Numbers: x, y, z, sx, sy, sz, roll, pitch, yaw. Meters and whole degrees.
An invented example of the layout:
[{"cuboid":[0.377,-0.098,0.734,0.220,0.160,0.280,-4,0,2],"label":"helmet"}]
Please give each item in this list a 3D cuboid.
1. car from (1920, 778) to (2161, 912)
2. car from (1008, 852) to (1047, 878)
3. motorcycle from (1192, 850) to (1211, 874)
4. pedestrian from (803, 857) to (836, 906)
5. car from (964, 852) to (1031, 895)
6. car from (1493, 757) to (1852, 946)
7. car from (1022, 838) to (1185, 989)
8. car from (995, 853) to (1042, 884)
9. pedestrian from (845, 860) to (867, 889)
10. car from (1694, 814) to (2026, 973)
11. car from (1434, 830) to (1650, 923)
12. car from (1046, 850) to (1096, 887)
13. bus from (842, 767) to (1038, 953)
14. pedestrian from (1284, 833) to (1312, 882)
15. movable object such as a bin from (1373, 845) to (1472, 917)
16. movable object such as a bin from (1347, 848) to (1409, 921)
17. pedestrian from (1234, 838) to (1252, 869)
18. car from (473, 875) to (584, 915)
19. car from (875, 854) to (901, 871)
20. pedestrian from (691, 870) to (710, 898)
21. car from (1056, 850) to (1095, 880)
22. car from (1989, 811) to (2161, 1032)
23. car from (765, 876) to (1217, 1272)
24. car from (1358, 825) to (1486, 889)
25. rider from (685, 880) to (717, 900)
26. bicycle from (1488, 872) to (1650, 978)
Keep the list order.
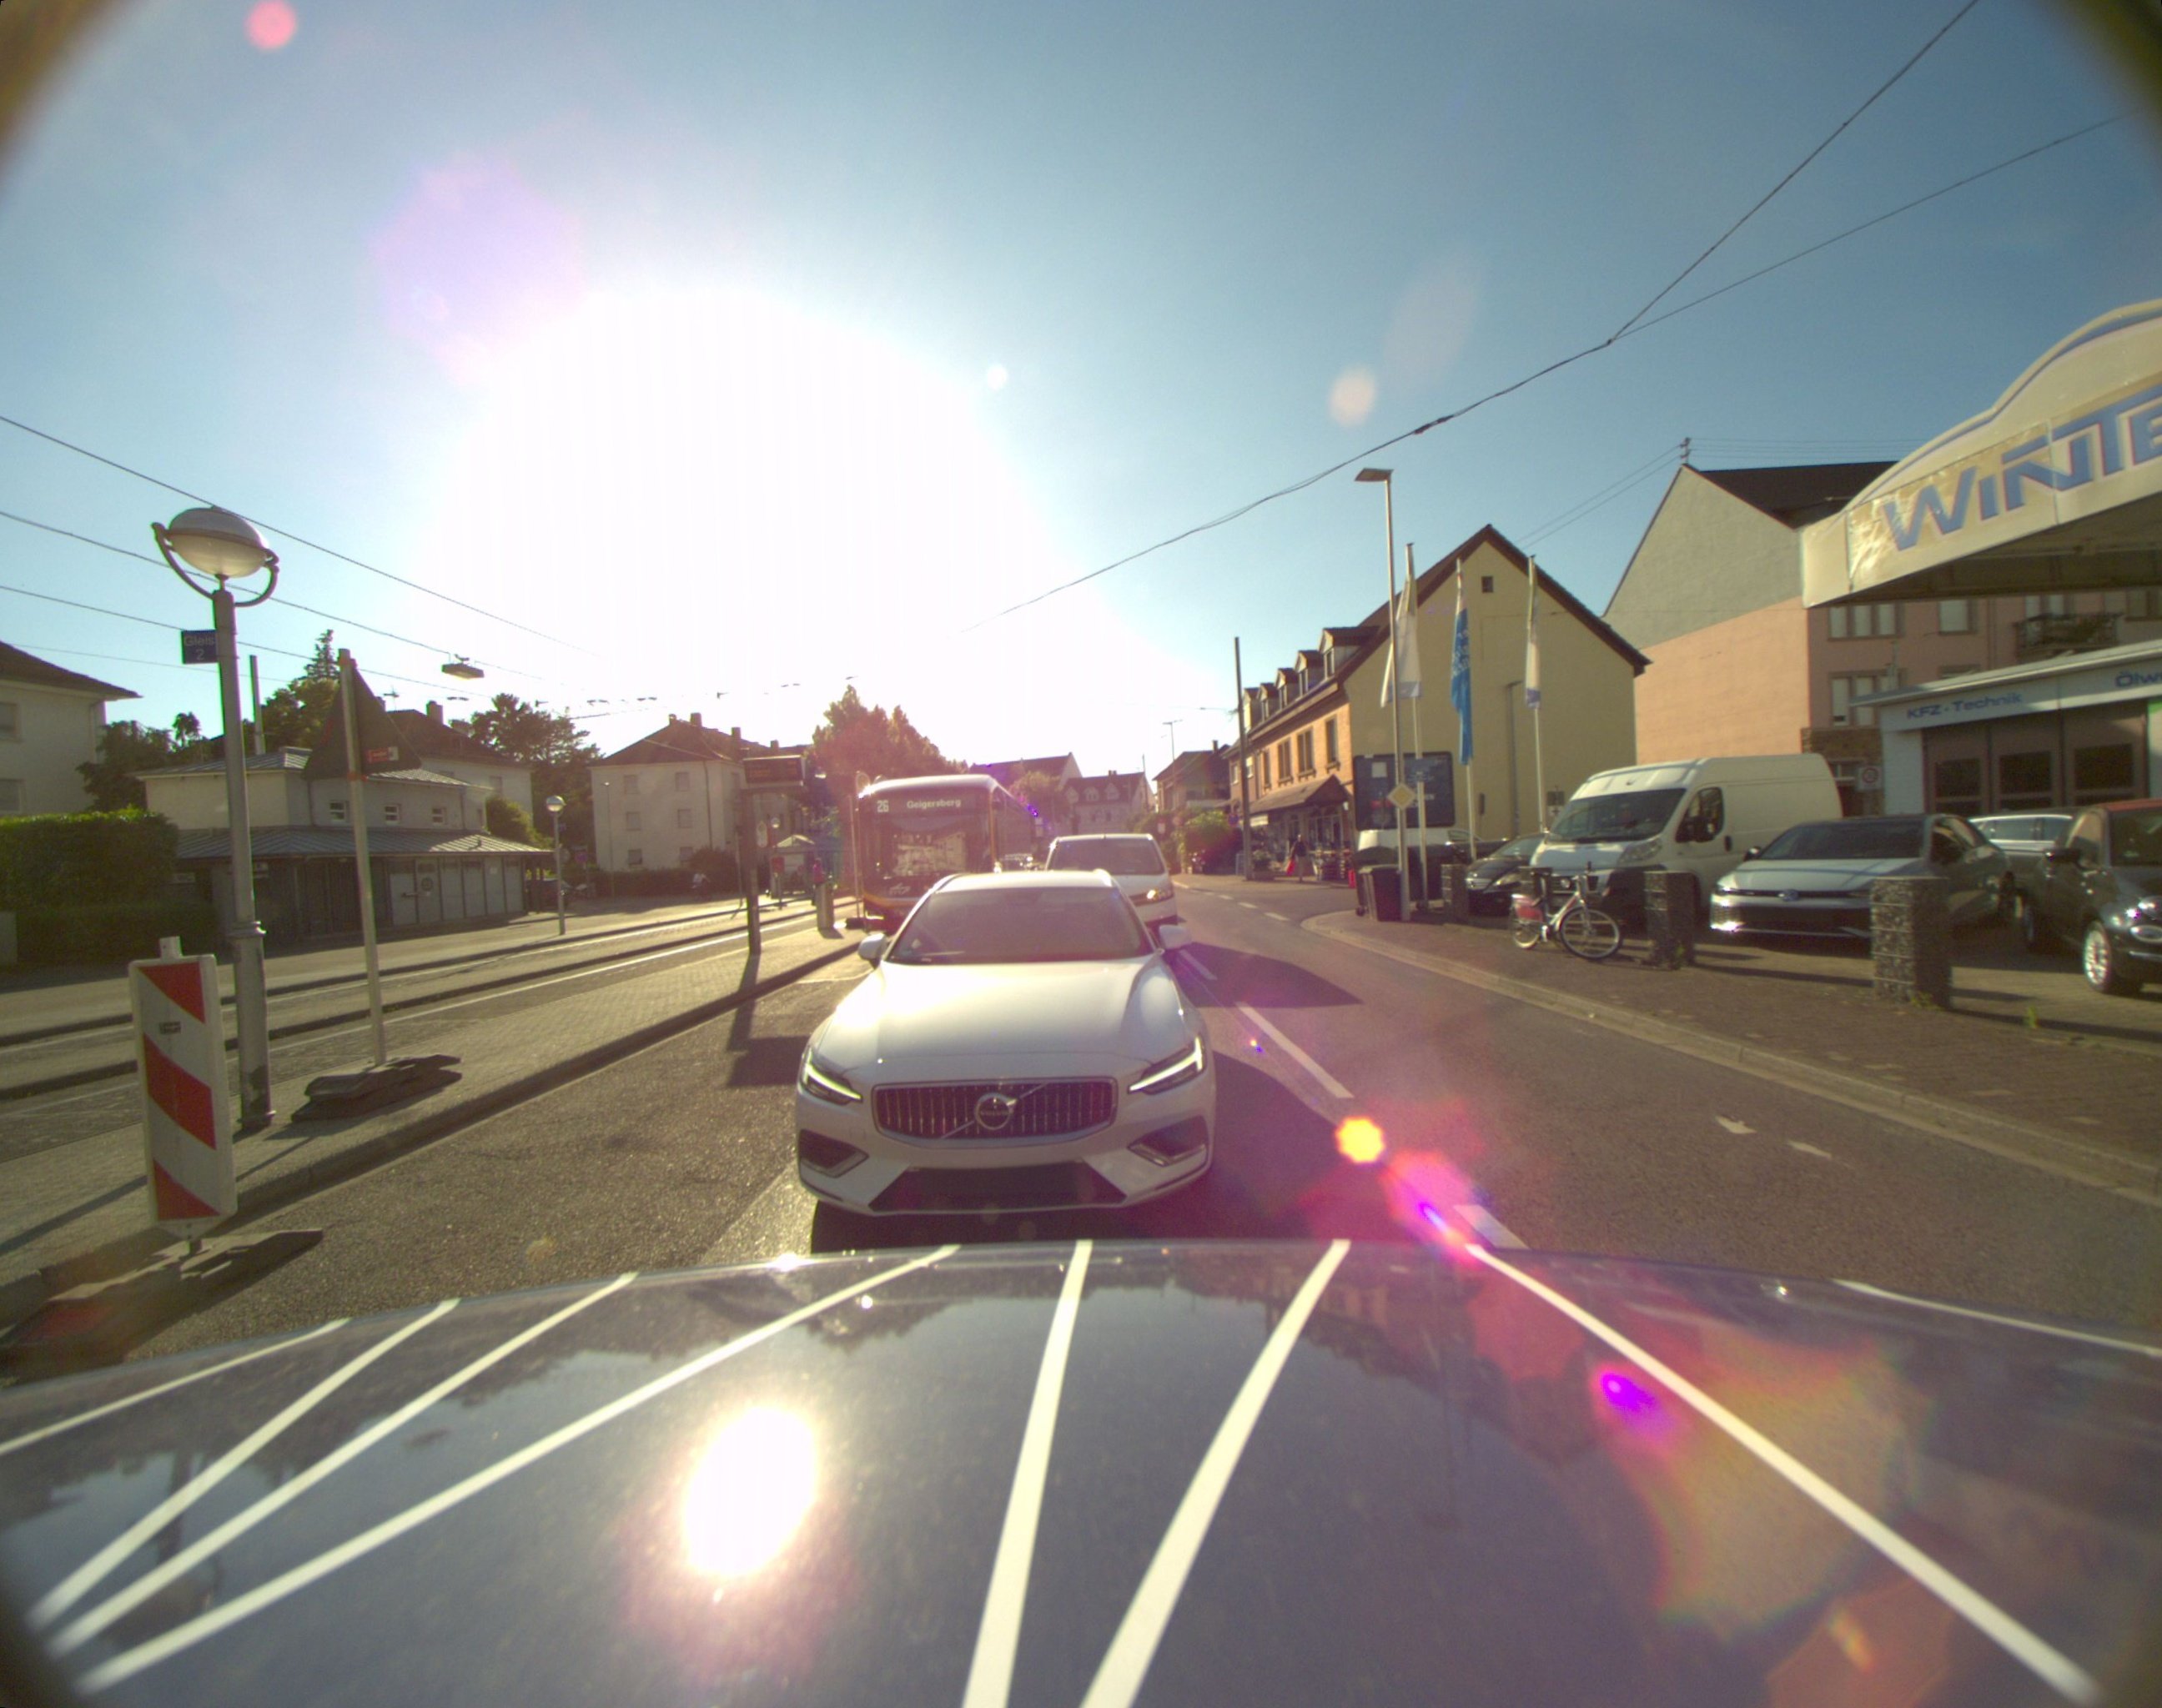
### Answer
[{"cuboid":[16.488,-0.180,11.992,1.742,1.933,4.257,-3,1,-1],"label":"car"},{"cuboid":[-3.263,0.625,47.308,1.969,1.450,4.824,-2,0,1],"label":"car"},{"cuboid":[6.361,0.410,40.124,0.708,1.210,2.186,-2,1,3],"label":"motorcycle"},{"cuboid":[-9.601,0.994,27.918,0.842,1.708,0.825,-2,1,-2],"label":"pedestrian"},{"cuboid":[-3.143,0.700,29.505,1.969,1.450,4.824,-2,0,1],"label":"car"},{"cuboid":[9.150,-0.140,11.764,4.997,2.440,2.111,-3,1,-22],"label":"car"},{"cuboid":[0.310,0.729,12.014,1.969,1.816,5.033,-2,0,1],"label":"car"},{"cuboid":[-3.220,0.700,39.894,1.969,1.450,4.824,-2,0,1],"label":"car"},{"cuboid":[-12.592,1.137,42.504,0.841,1.601,0.826,-2,1,10],"label":"pedestrian"},{"cuboid":[9.497,0.354,9.215,4.036,1.488,1.739,-3,1,-28],"label":"car"},{"cuboid":[8.975,0.368,14.751,4.036,1.469,1.739,-3,1,-28],"label":"car"},{"cuboid":[-0.383,0.577,33.265,1.969,1.450,4.824,-2,0,1],"label":"car"},{"cuboid":[-2.912,0.090,19.838,2.748,3.284,12.030,-2,0,0],"label":"bus"},{"cuboid":[8.451,0.133,29.655,0.822,1.842,0.767,-2,1,0],"label":"pedestrian"},{"cuboid":[7.601,0.573,16.918,1.798,1.456,1.046,-3,1,-25],"label":"movable object such as a bin"},{"cuboid":[6.243,0.636,15.954,1.045,1.456,0.797,-2,1,32],"label":"movable object such as a bin"},{"cuboid":[9.157,-0.025,42.882,0.809,1.703,0.859,-2,1,2],"label":"pedestrian"},{"cuboid":[-27.679,2.046,38.144,4.052,1.663,2.000,-4,1,2],"label":"car"},{"cuboid":[-23.251,1.012,91.777,1.998,1.853,3.999,-2,1,1],"label":"car"},{"cuboid":[-19.652,1.555,39.234,0.657,1.373,0.581,-1,1,33],"label":"pedestrian"},{"cuboid":[-0.244,0.560,41.513,1.969,1.450,4.824,-2,0,1],"label":"car"},{"cuboid":[9.083,0.407,6.169,1.590,1.488,3.442,-2,1,40],"label":"car"},{"cuboid":[-0.346,0.978,5.261,1.821,1.446,4.217,-2,0,1],"label":"car"},{"cuboid":[11.573,0.090,25.926,3.672,2.002,1.451,-2,1,-3],"label":"car"},{"cuboid":[-19.647,1.877,39.250,1.852,0.986,0.581,-2,1,33],"label":"rider"},{"cuboid":[5.889,0.809,9.318,0.725,1.080,1.791,-3,1,-3],"label":"bicycle"}]
